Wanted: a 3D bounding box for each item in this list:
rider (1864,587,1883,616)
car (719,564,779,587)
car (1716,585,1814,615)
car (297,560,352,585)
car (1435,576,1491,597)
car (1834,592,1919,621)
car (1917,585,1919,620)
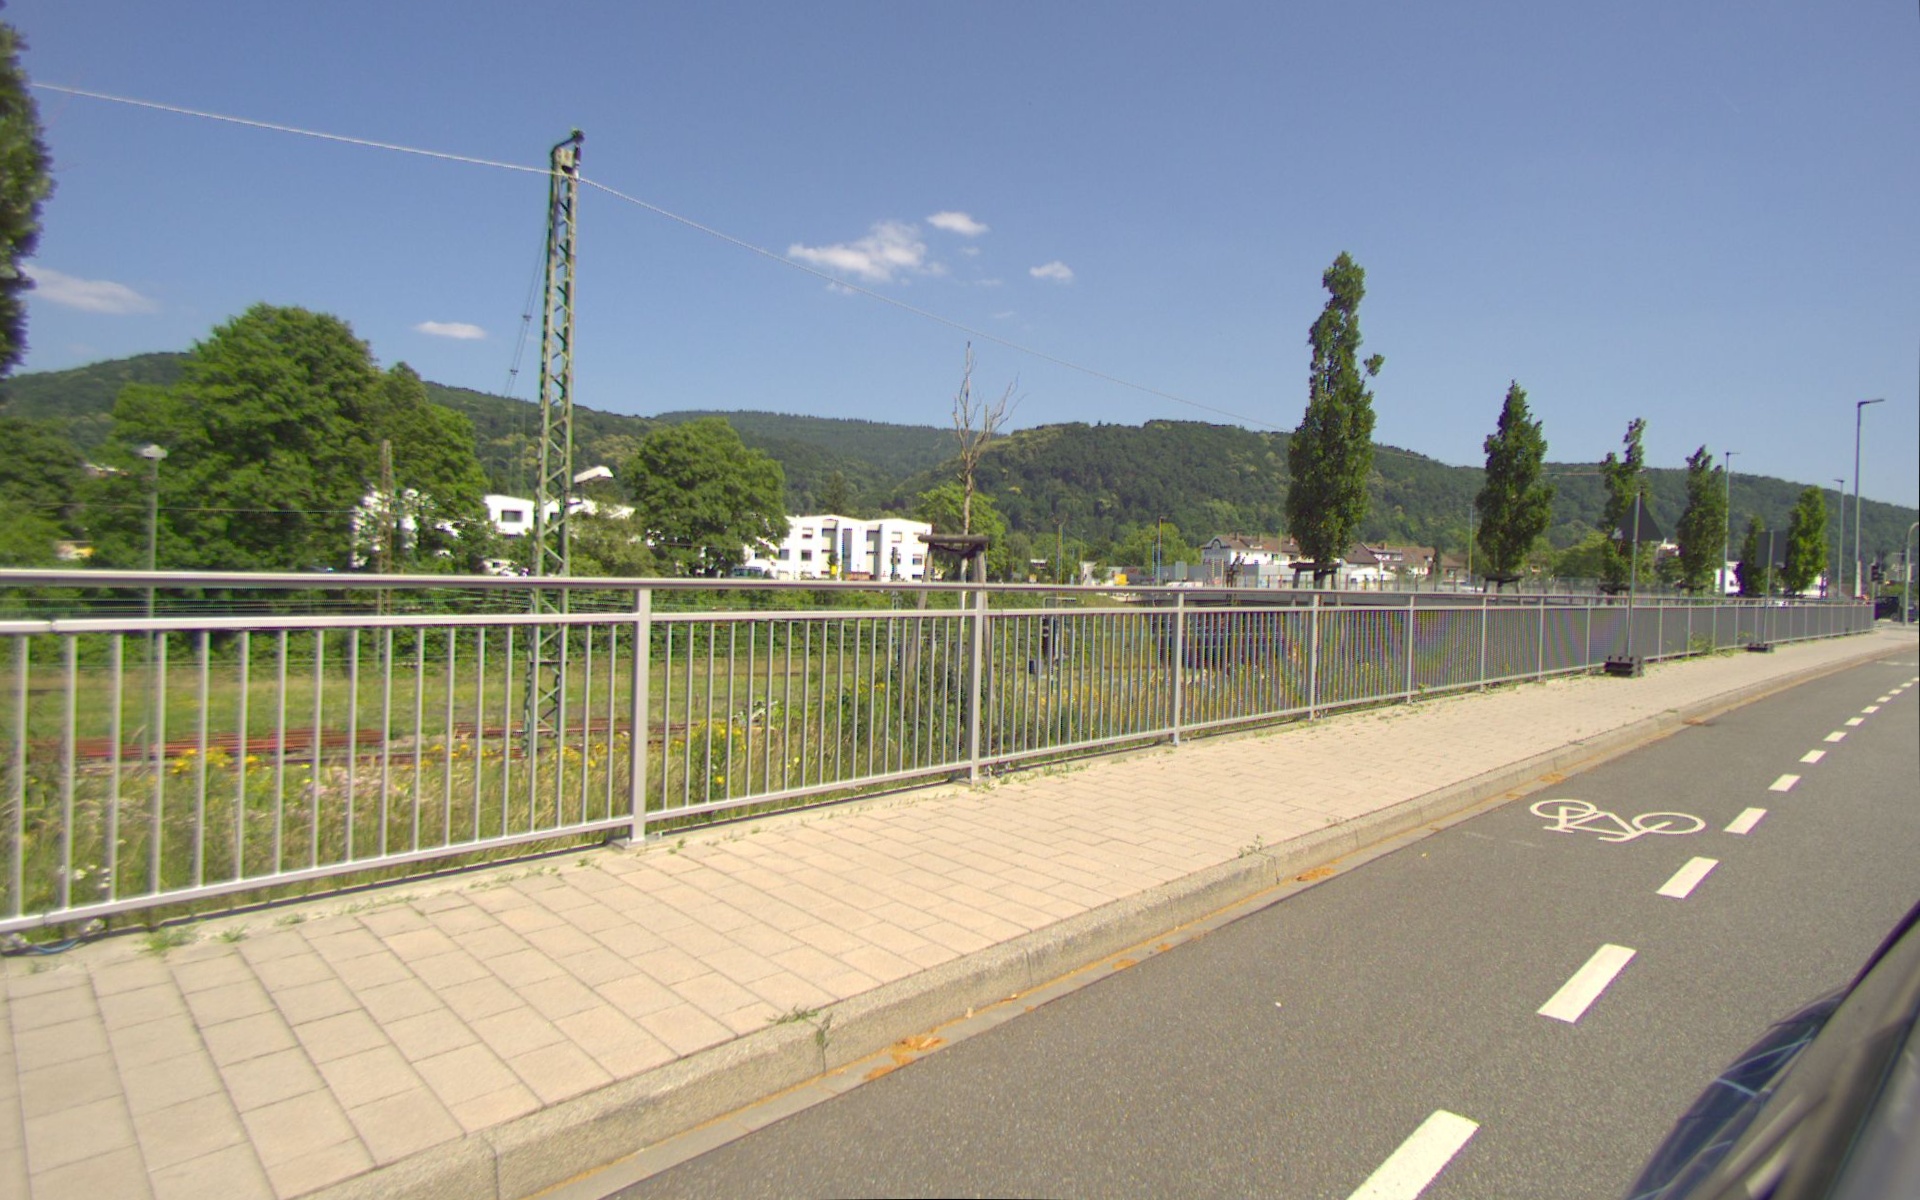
[{"bbox_3d":[58.141,0.102,64.395,0.536,1.836,0.687,-2,2,-17],"label":"rider"},{"bbox_3d":[-21.086,-2.479,101.332,5.413,2.129,2.135,-1,-2,-34],"label":"car"},{"bbox_3d":[51.109,-0.018,64.401,1.793,1.672,4.779,-2,2,-13],"label":"car"},{"bbox_3d":[-55.657,-2.370,88.681,3.854,2.040,1.757,-1,-2,-27],"label":"car"},{"bbox_3d":[43.405,-1.198,87.465,1.793,1.672,4.591,-2,2,-14],"label":"car"},{"bbox_3d":[55.833,0.371,61.075,1.793,1.509,4.381,-2,2,-16],"label":"car"},{"bbox_3d":[53.898,0.161,53.579,1.793,1.872,4.381,-2,2,-15],"label":"car"}]
